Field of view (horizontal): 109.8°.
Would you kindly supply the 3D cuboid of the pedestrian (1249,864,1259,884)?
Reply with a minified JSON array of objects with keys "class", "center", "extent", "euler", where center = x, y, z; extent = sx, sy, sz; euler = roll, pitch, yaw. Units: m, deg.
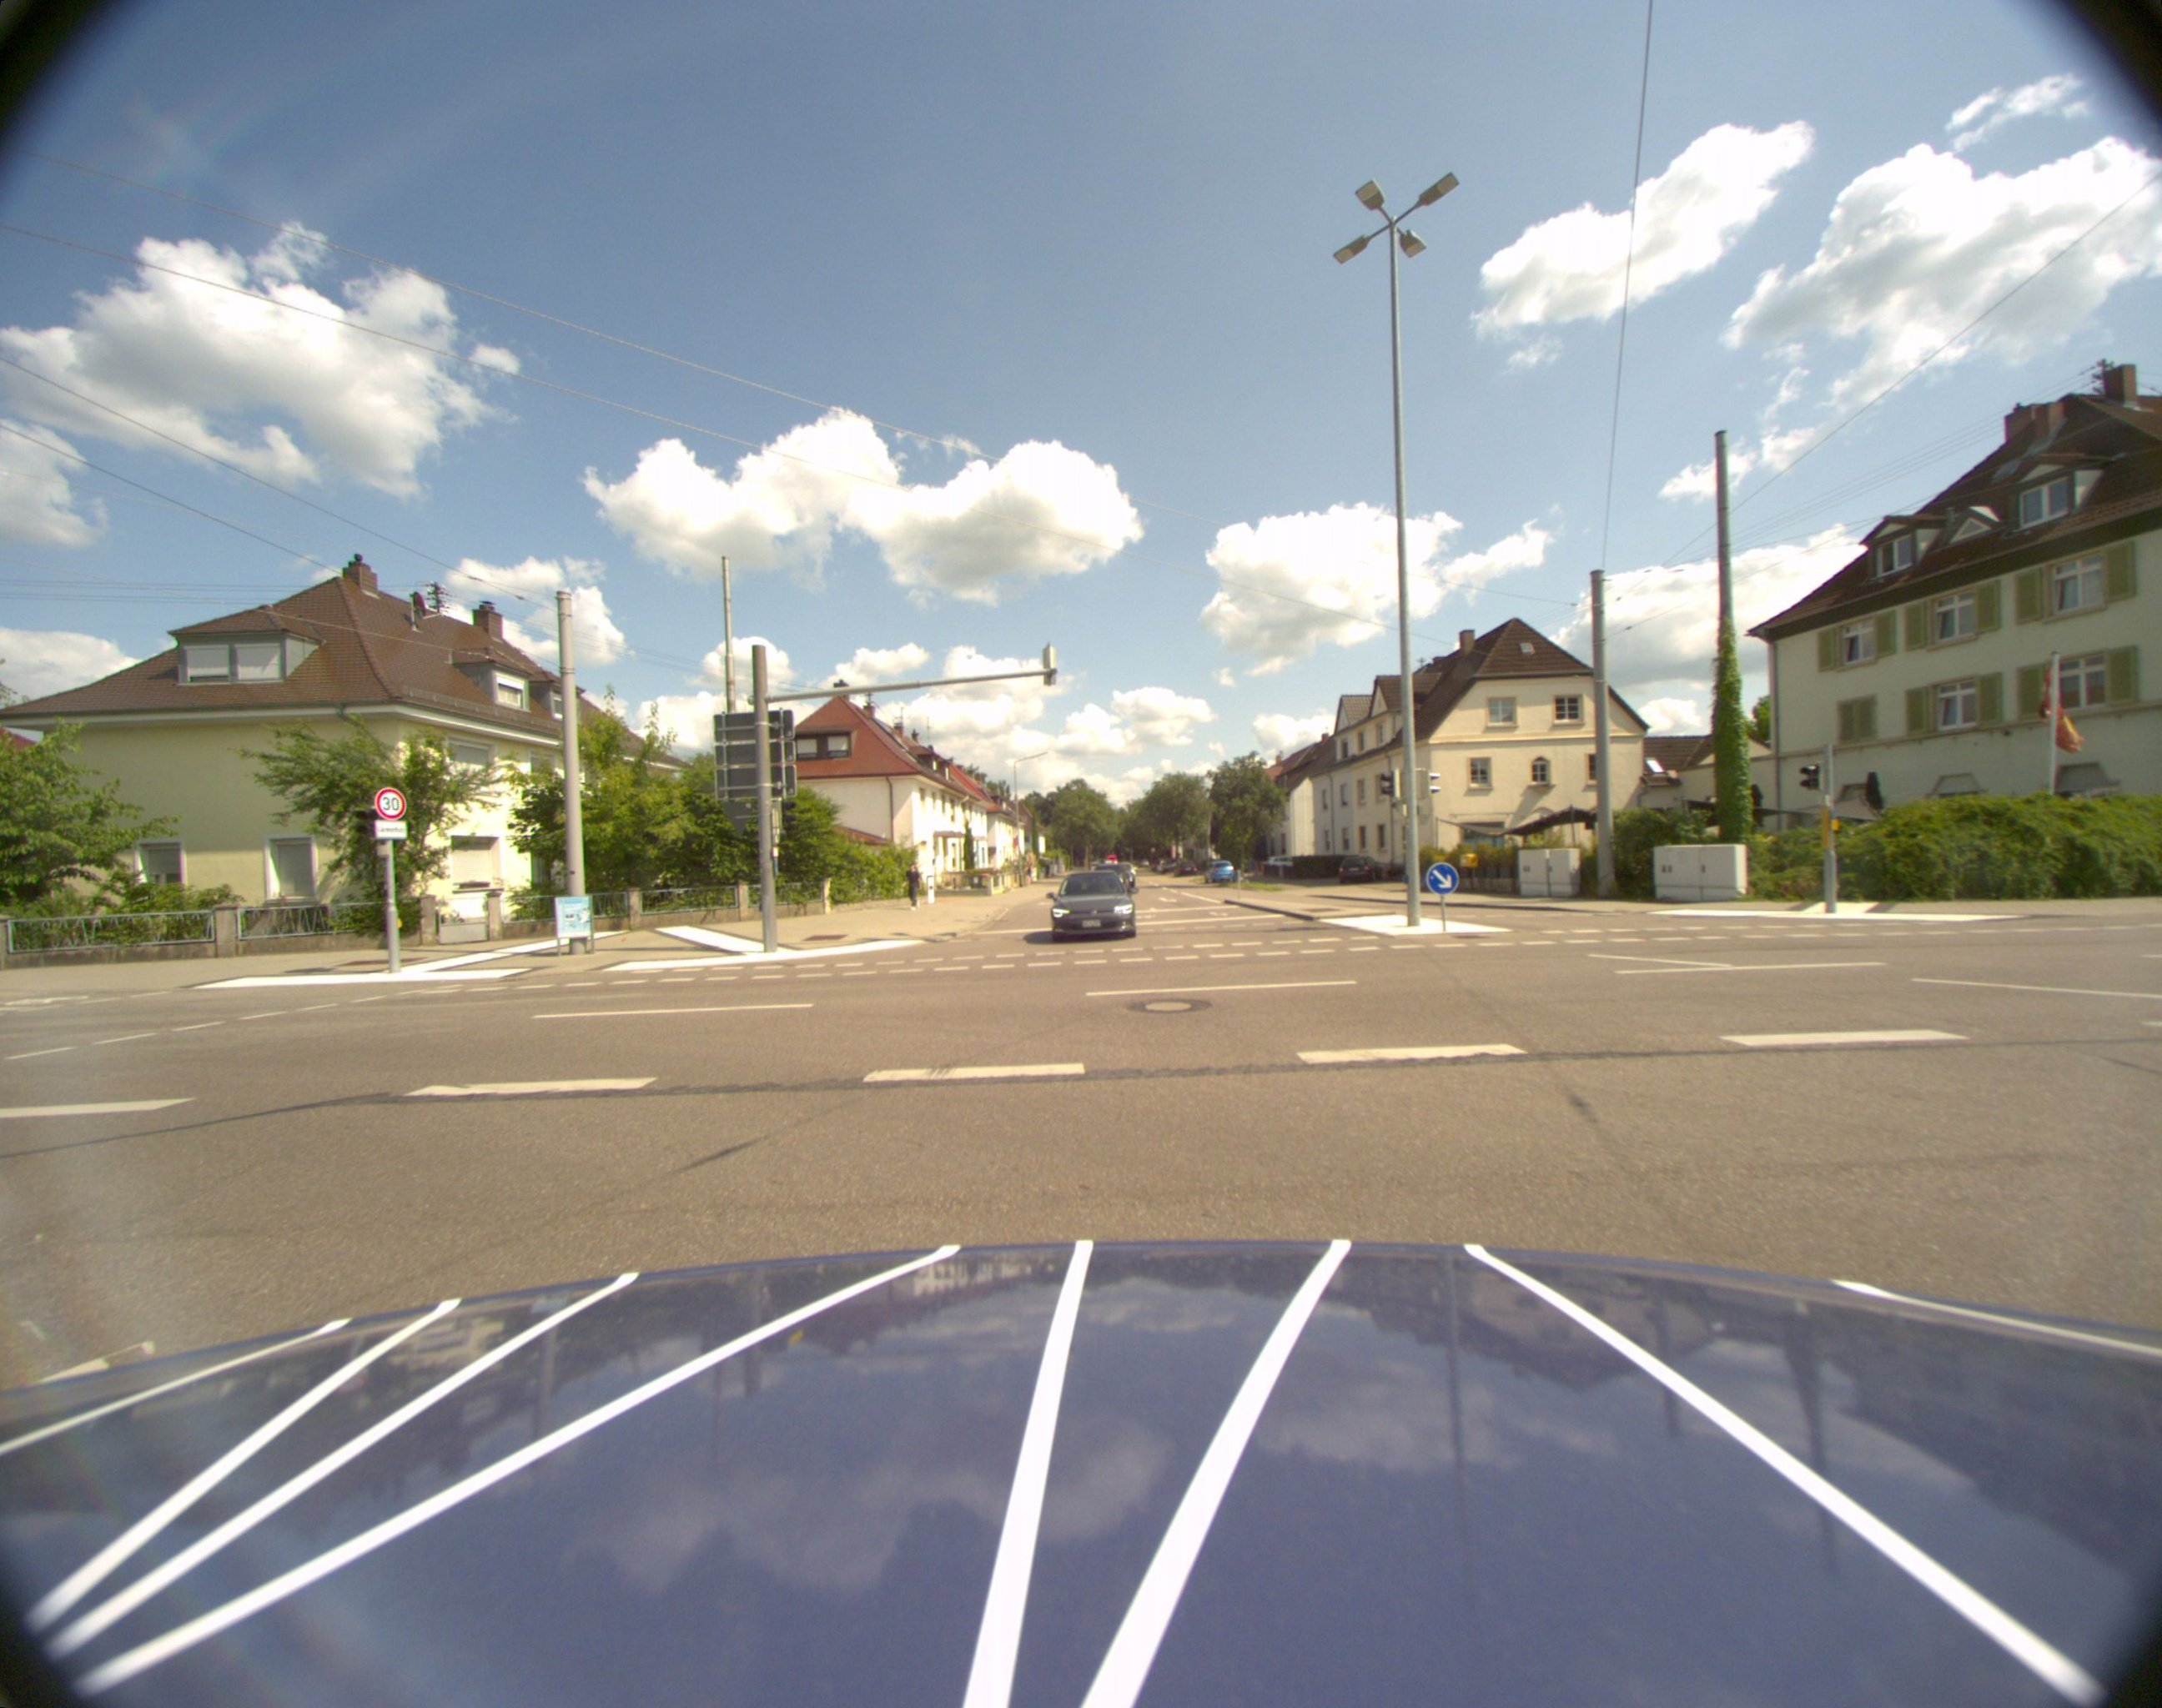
[{"class":"pedestrian","center":[13.756,1.591,60.376],"extent":[0.632,1.526,0.618],"euler":[-2,0,2]}]

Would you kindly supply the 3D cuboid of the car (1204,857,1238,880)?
[{"class":"car","center":[9.603,0.972,52.285],"extent":[1.709,1.454,3.155],"euler":[-2,0,1]}]

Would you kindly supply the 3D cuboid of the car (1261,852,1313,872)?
[{"class":"car","center":[16.581,0.639,61.239],"extent":[3.805,1.445,1.711],"euler":[-2,0,4]}]

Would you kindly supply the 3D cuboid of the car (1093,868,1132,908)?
[{"class":"car","center":[1.566,1.675,38.785],"extent":[1.776,1.754,4.874],"euler":[-2,0,1]}]

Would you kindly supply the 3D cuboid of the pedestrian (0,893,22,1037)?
[{"class":"pedestrian","center":[-13.549,1.354,8.798],"extent":[1.032,1.724,1.040],"euler":[-2,0,-3]}]

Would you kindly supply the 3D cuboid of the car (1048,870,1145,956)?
[{"class":"car","center":[0.248,1.157,16.554],"extent":[1.766,1.465,4.687],"euler":[-2,0,-1]}]

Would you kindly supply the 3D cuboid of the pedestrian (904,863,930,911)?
[{"class":"pedestrian","center":[-6.038,1.203,28.000],"extent":[0.592,1.757,0.938],"euler":[-1,0,10]}]

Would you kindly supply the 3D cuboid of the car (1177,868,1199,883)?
[{"class":"car","center":[9.879,1.977,70.159],"extent":[1.709,1.288,3.919],"euler":[-2,0,4]}]

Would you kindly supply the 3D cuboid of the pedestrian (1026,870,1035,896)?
[{"class":"pedestrian","center":[-3.367,1.897,50.535],"extent":[0.519,1.701,0.618],"euler":[-2,0,2]}]

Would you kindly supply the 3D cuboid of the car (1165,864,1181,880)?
[{"class":"car","center":[10.159,2.010,83.791],"extent":[1.562,1.645,3.574],"euler":[-2,0,4]}]

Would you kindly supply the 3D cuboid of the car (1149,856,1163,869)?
[{"class":"car","center":[9.770,1.084,99.138],"extent":[1.562,1.645,3.252],"euler":[-2,0,4]}]

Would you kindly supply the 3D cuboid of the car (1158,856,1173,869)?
[{"class":"car","center":[9.987,1.035,90.095],"extent":[1.623,1.417,3.003],"euler":[-3,0,6]}]

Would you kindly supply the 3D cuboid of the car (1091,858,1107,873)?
[{"class":"car","center":[1.966,1.244,80.573],"extent":[1.381,1.493,3.003],"euler":[-3,0,6]}]

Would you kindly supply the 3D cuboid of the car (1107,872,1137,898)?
[{"class":"car","center":[2.561,1.940,47.992],"extent":[1.709,1.454,3.155],"euler":[-2,0,0]}]

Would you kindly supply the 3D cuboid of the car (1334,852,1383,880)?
[{"class":"car","center":[15.251,0.653,41.643],"extent":[1.757,1.378,4.110],"euler":[-2,0,31]}]

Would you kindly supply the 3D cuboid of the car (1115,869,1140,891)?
[{"class":"car","center":[3.423,1.901,56.137],"extent":[1.709,1.454,3.155],"euler":[-2,0,1]}]
